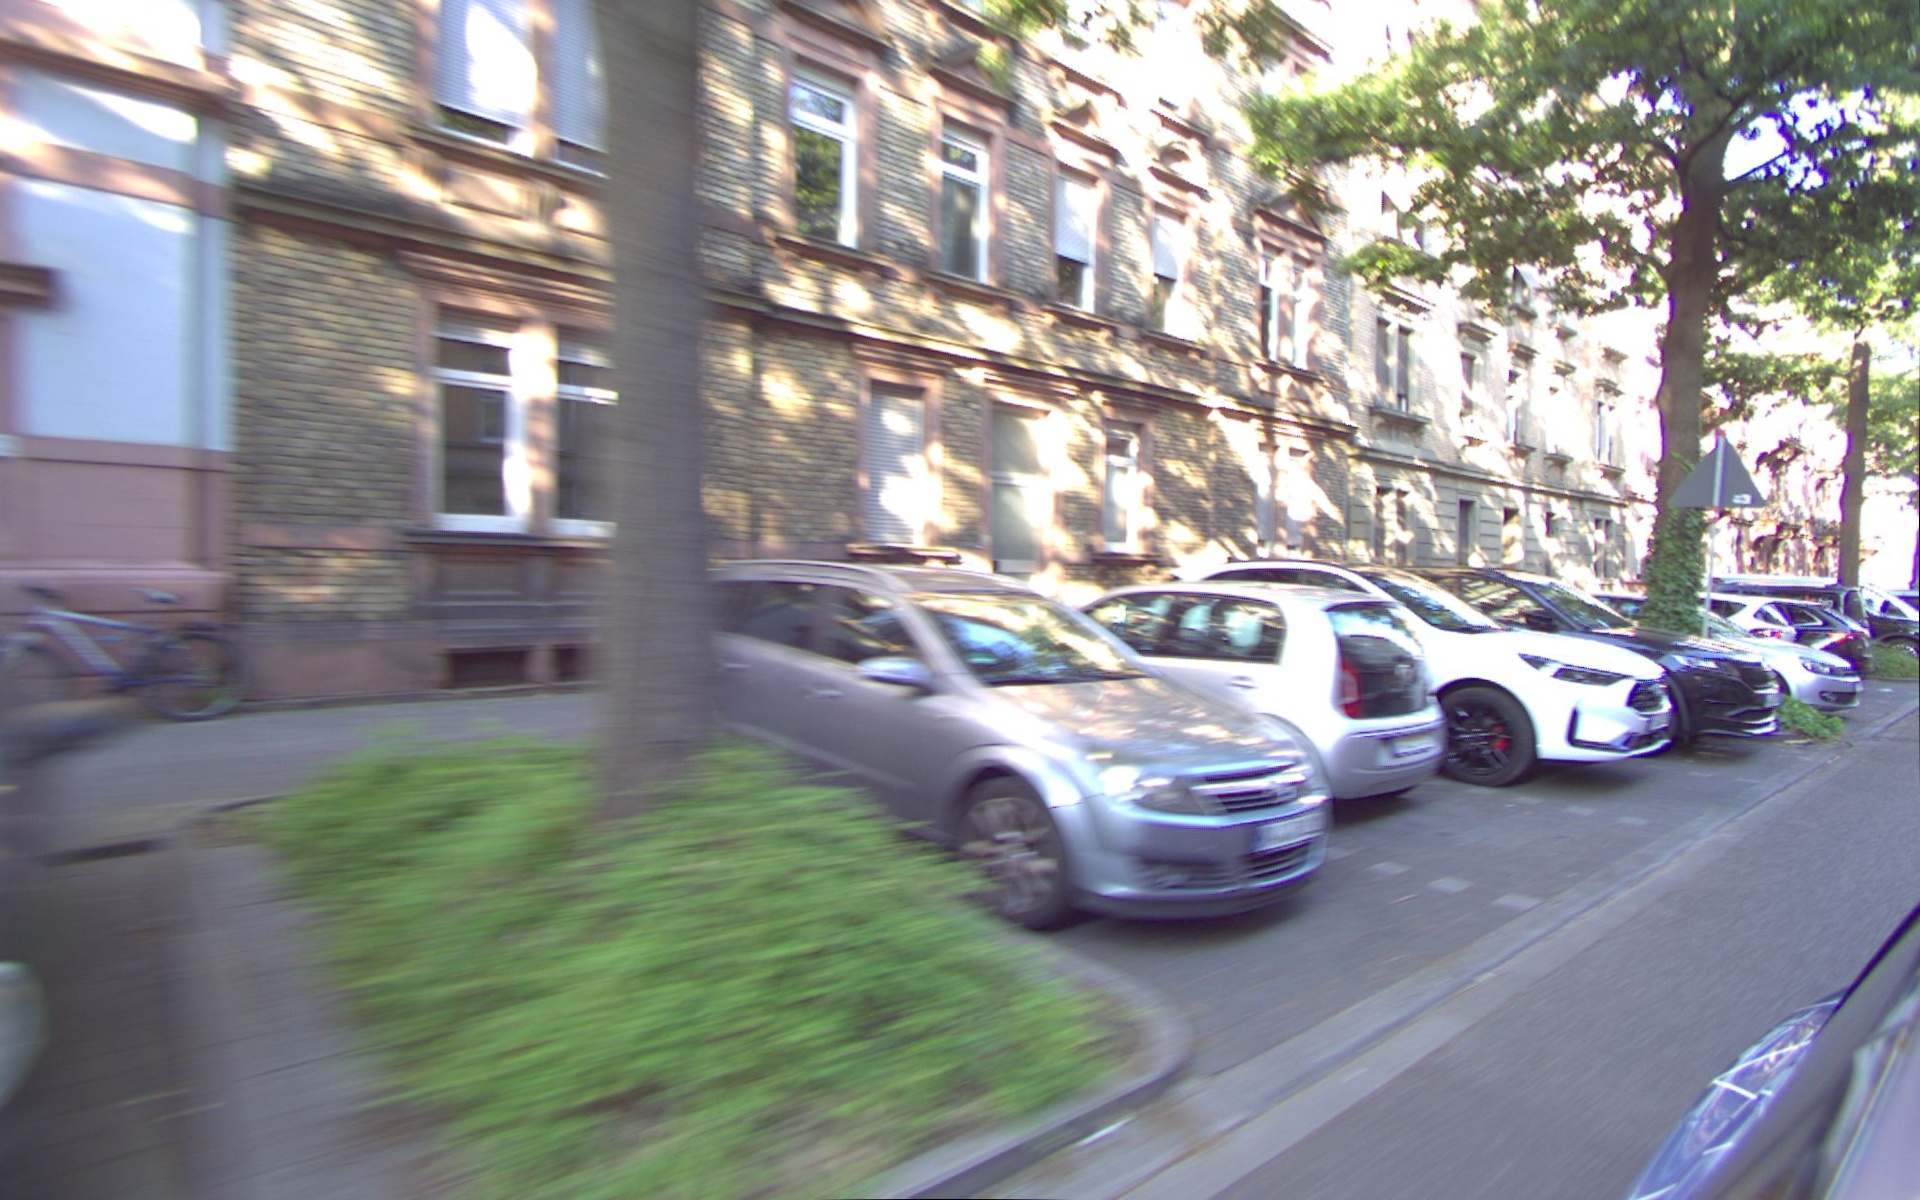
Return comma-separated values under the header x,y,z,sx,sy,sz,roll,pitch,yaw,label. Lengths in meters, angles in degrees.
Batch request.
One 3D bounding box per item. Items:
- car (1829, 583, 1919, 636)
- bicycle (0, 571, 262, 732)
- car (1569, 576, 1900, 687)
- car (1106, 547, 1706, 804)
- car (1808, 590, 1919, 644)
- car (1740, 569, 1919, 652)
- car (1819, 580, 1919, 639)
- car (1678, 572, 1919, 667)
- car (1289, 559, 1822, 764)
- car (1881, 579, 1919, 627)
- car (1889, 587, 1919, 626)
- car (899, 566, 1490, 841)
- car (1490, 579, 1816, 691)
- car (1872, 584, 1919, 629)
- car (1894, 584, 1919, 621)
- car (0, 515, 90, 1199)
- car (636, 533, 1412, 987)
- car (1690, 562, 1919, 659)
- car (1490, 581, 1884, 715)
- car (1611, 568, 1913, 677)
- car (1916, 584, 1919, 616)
x,y,z,sx,sy,sz,roll,pitch,yaw,label
33.050,0.384,35.036,1.709,1.607,4.240,0,4,-42,car
-6.112,0.332,7.136,0.404,1.059,1.918,2,1,43,bicycle
13.017,0.438,17.218,1.903,1.473,4.153,0,3,-42,car
3.603,0.415,8.893,1.859,1.676,4.483,-2,3,-42,car
27.922,0.544,29.595,1.869,1.384,4.470,0,3,-39,car
23.316,0.266,26.152,4.636,1.913,1.890,3,2,28,car
31.262,0.306,33.389,1.750,1.910,4.240,0,0,-40,car
18.544,0.378,21.582,2.044,1.652,4.926,0,4,-44,car
5.950,0.426,10.639,1.858,1.676,4.487,-2,2,-39,car
40.793,0.249,41.573,1.749,1.909,4.059,1,4,-39,car
42.575,0.402,43.161,1.749,1.599,4.059,1,4,-39,car
1.471,0.511,7.627,1.769,1.488,4.110,1,1,-39,car
10.824,0.449,16.009,1.659,1.513,3.991,0,1,-43,car
38.909,0.350,40.071,1.707,1.702,3.846,1,4,-39,car
45.945,0.300,46.582,1.749,1.640,4.059,0,6,-40,car
-3.247,0.492,2.487,1.649,1.404,3.996,0,4,-41,car
0.001,0.497,5.617,1.771,1.555,4.226,0,1,-43,car
20.483,0.201,23.865,2.140,1.924,4.926,0,4,-44,car
9.545,0.513,13.560,1.657,1.474,3.995,0,1,-40,car
15.010,0.322,19.133,1.910,1.810,4.135,0,1,-39,car
53.320,0.111,52.802,1.891,2.000,4.702,0,6,-40,car
